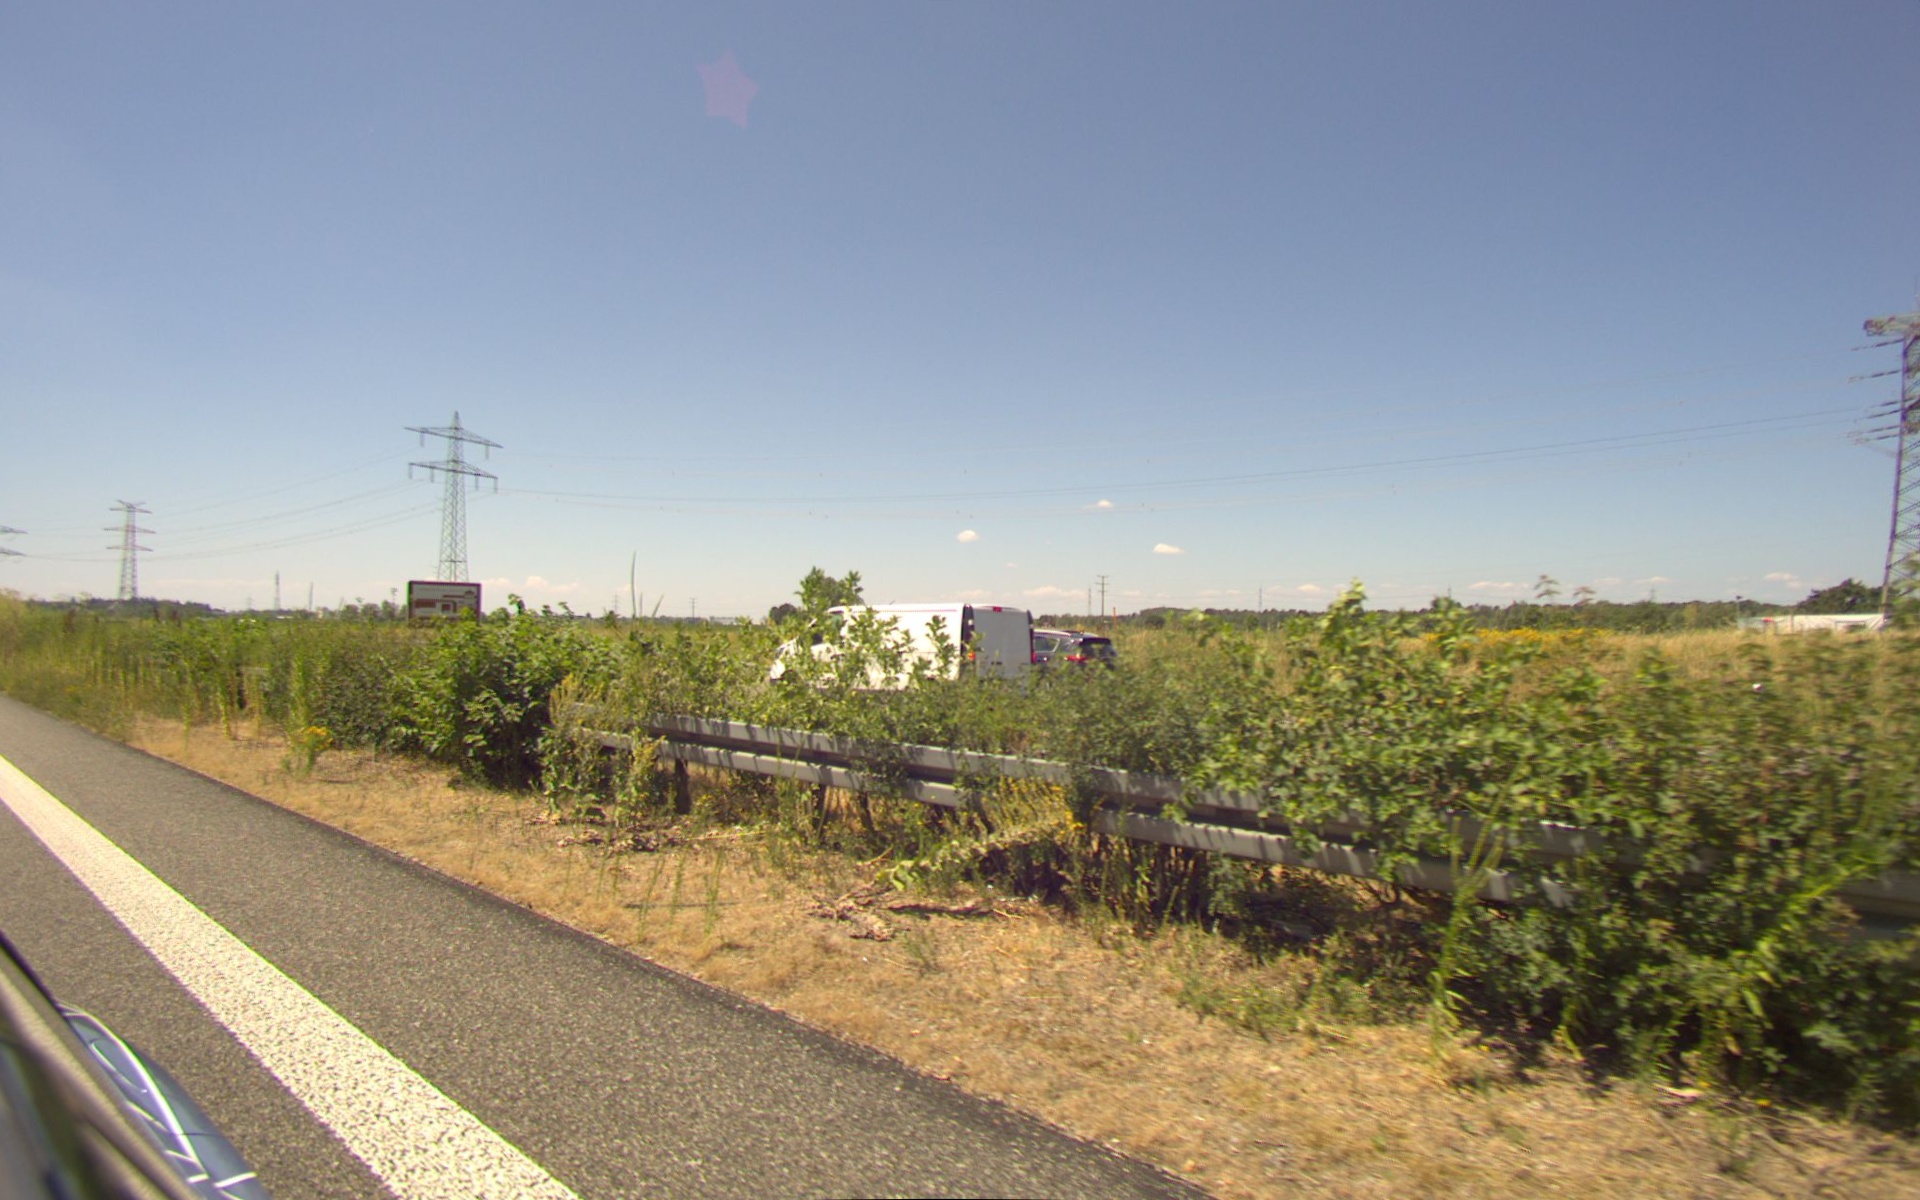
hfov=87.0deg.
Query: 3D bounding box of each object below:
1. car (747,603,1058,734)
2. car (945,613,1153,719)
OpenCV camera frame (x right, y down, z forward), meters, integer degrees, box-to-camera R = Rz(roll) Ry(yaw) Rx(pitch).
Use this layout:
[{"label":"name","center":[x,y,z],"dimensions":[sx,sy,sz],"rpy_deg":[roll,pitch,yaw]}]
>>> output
[{"label":"car","center":[-1.207,1.099,18.091],"dimensions":[5.835,2.002,1.976],"rpy_deg":[-1,-2,41]},{"label":"car","center":[1.795,1.279,21.071],"dimensions":[3.984,1.993,1.876],"rpy_deg":[-1,-2,41]}]
